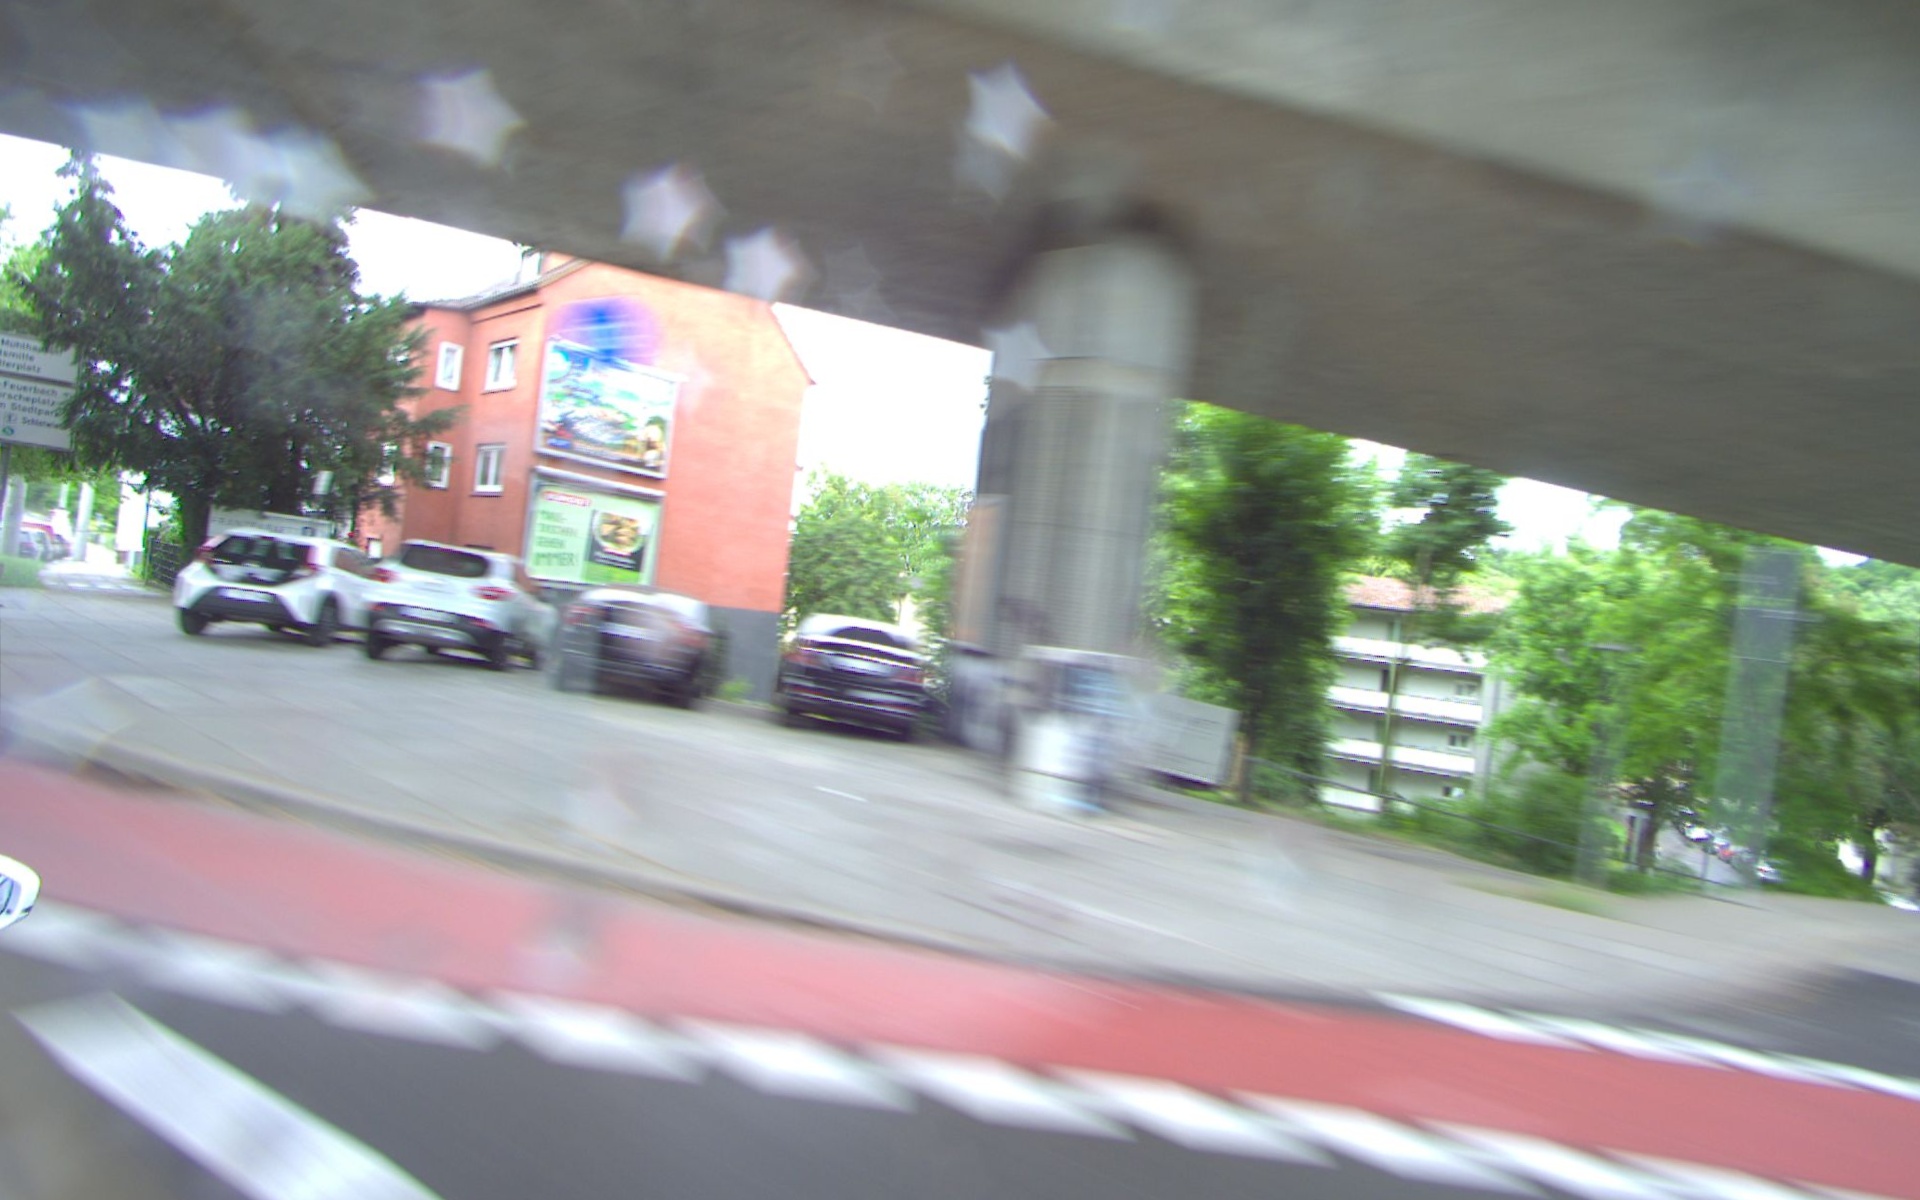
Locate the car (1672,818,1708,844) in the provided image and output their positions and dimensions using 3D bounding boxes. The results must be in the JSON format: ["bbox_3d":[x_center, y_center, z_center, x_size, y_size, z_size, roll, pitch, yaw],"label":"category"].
[{"bbox_3d":[62.948,19.910,86.806,1.857,1.467,4.155,7,-3,29],"label":"car"}]

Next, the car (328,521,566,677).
[{"bbox_3d":[-6.992,0.025,14.234,1.936,1.649,4.016,8,-2,-14],"label":"car"}]

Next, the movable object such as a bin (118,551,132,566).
[{"bbox_3d":[-52.379,-2.604,63.104,0.585,0.890,0.443,7,-2,-43],"label":"movable object such as a bin"}]

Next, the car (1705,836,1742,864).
[{"bbox_3d":[58.526,19.145,77.142,1.710,1.429,3.556,7,-3,31],"label":"car"}]

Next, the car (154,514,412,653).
[{"bbox_3d":[-9.628,-0.181,14.688,1.774,1.539,3.728,8,-2,-14],"label":"car"}]

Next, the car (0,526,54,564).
[{"bbox_3d":[-42.587,-2.473,45.902,1.572,1.468,3.681,8,-4,-40],"label":"car"}]

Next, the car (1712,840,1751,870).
[{"bbox_3d":[56.337,18.587,73.536,1.710,1.429,3.556,7,-3,31],"label":"car"}]

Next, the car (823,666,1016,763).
[{"bbox_3d":[-0.837,2.626,22.752,1.973,1.612,3.986,6,-5,43],"label":"car"}]

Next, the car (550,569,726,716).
[{"bbox_3d":[-4.156,0.519,13.522,1.759,1.455,4.042,8,-2,-13],"label":"car"}]

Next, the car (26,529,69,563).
[{"bbox_3d":[-59.762,-3.543,65.897,1.835,1.819,4.632,11,-5,-42],"label":"car"}]

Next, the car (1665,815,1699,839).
[{"bbox_3d":[65.403,20.554,91.166,1.857,1.467,4.155,7,-3,29],"label":"car"}]

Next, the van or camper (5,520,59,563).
[{"bbox_3d":[-49.777,-3.132,54.038,1.845,1.942,4.938,8,-3,-42],"label":"van or camper"}]

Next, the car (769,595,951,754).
[{"bbox_3d":[-1.508,0.959,13.527,1.875,1.588,3.997,8,-4,-11],"label":"car"}]

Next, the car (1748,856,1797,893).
[{"bbox_3d":[50.254,16.955,62.294,1.710,1.429,3.556,7,-3,31],"label":"car"}]

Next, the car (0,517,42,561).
[{"bbox_3d":[-35.513,-2.298,37.474,1.671,1.438,4.515,9,-4,-41],"label":"car"}]

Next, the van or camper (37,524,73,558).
[{"bbox_3d":[-80.850,-5.270,89.876,1.989,2.592,5.971,10,-3,-42],"label":"van or camper"}]
